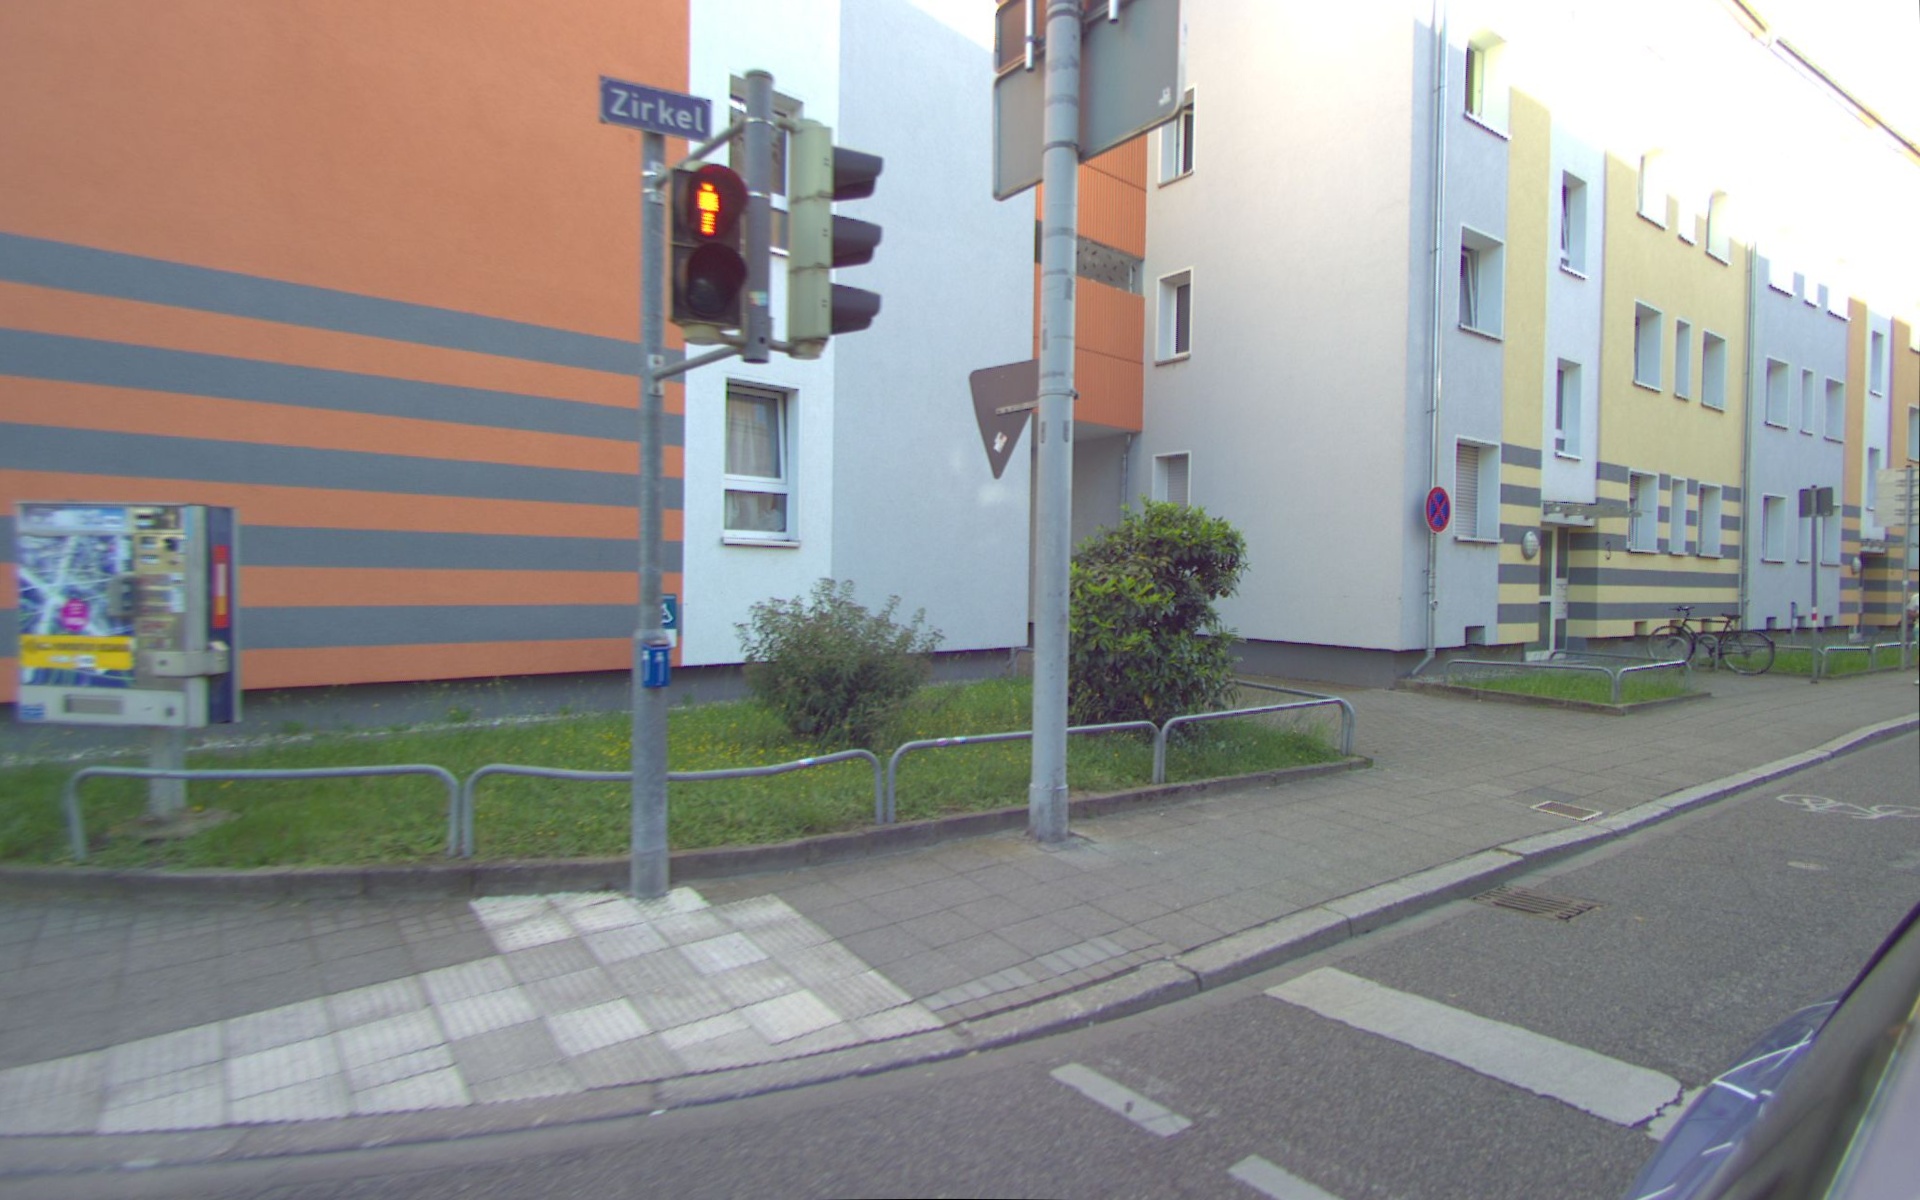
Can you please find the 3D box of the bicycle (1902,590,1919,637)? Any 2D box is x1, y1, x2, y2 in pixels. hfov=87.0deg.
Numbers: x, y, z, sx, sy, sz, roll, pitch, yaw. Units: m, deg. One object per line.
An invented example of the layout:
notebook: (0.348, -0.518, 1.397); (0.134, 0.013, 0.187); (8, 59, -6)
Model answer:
bicycle: (23.878, 0.365, 24.252); (0.573, 1.138, 1.778); (-1, 3, -37)

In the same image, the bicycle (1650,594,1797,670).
bicycle: (12.270, 0.488, 16.312); (0.573, 1.061, 1.776); (-1, 4, -40)

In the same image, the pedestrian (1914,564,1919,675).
pedestrian: (15.096, 0.303, 15.390); (0.818, 1.692, 0.645); (0, 2, -33)
